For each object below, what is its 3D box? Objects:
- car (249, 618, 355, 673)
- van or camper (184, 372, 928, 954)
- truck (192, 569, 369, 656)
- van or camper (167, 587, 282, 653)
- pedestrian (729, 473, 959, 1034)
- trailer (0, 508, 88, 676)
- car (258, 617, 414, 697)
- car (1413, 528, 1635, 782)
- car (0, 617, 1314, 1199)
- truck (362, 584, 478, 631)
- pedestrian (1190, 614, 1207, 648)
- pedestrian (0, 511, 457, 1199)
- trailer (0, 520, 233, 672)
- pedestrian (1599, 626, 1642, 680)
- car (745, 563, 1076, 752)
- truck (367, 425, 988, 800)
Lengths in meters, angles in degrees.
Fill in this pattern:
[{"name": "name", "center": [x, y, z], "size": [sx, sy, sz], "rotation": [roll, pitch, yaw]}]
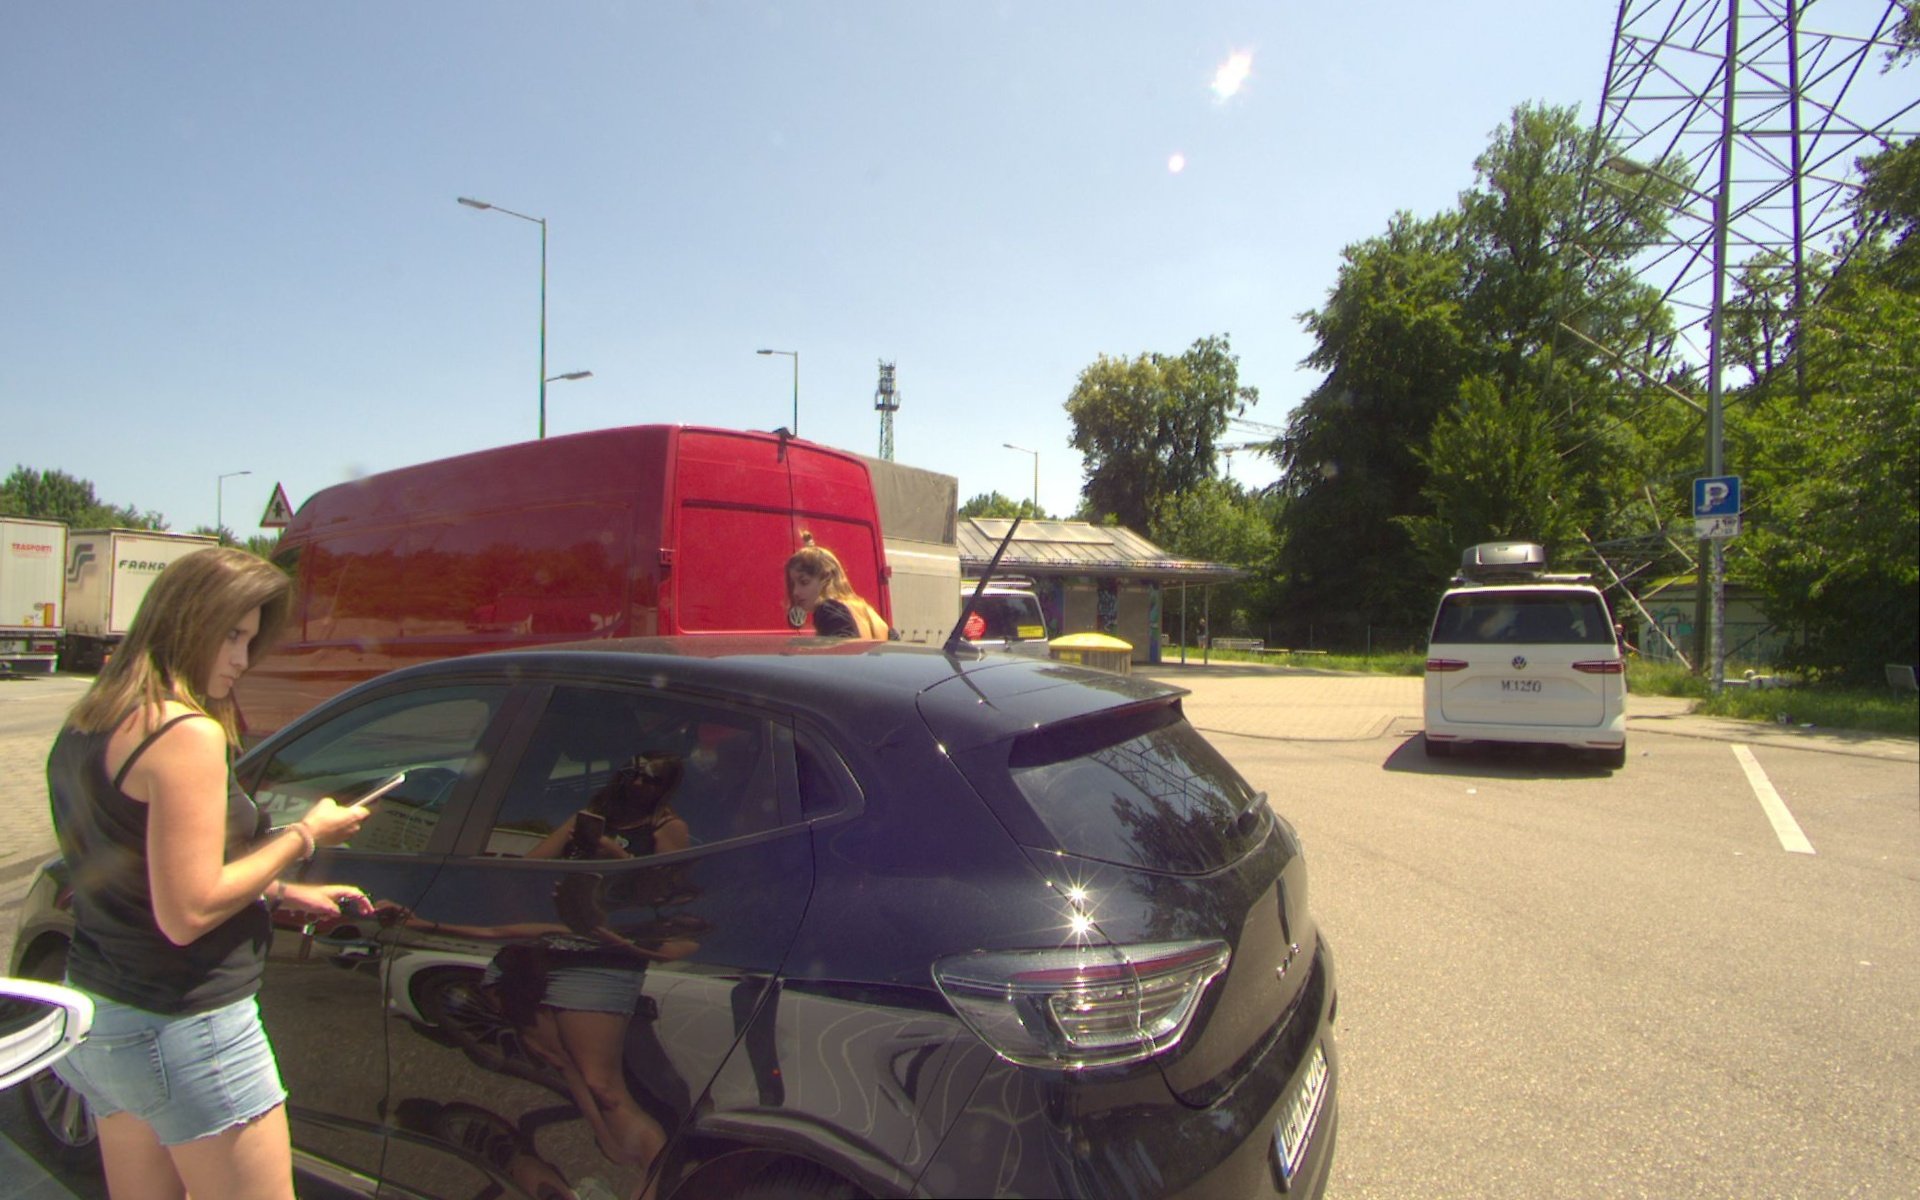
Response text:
[{"name": "car", "center": [-20.433, 1.375, 31.051], "size": [3.592, 1.565, 1.586], "rotation": [0, -1, 36]}, {"name": "van or camper", "center": [-3.366, 0.318, 7.340], "size": [6.394, 2.688, 1.990], "rotation": [0, -1, 36]}, {"name": "truck", "center": [-31.699, 0.496, 46.458], "size": [11.255, 3.615, 2.484], "rotation": [2, -1, 33]}, {"name": "van or camper", "center": [-30.417, 0.811, 41.368], "size": [5.296, 2.595, 2.100], "rotation": [0, -1, 34]}, {"name": "pedestrian", "center": [-0.475, 0.533, 3.905], "size": [0.759, 1.896, 0.916], "rotation": [1, 0, -11]}, {"name": "trailer", "center": [-28.358, -0.336, 27.782], "size": [12.255, 4.090, 2.862], "rotation": [2, -1, 33]}, {"name": "car", "center": [-13.932, 1.193, 22.293], "size": [3.902, 1.582, 1.834], "rotation": [0, -1, 40]}, {"name": "car", "center": [6.539, 0.559, 11.548], "size": [1.892, 2.354, 4.074], "rotation": [-1, -1, 32]}, {"name": "car", "center": [-1.059, 0.829, 2.833], "size": [3.706, 1.503, 1.615], "rotation": [0, -1, 27]}, {"name": "truck", "center": [-34.732, 0.453, 64.260], "size": [9.637, 2.857, 2.121], "rotation": [0, -1, 32]}, {"name": "pedestrian", "center": [10.945, 1.439, 45.988], "size": [0.577, 1.536, 0.592], "rotation": [1, 0, -9]}, {"name": "pedestrian", "center": [-1.311, 0.687, 1.733], "size": [0.643, 1.606, 0.648], "rotation": [1, 0, -15]}, {"name": "trailer", "center": [-27.298, -0.207, 31.447], "size": [12.255, 4.090, 2.862], "rotation": [2, -1, 33]}, {"name": "pedestrian", "center": [17.262, 1.384, 26.165], "size": [0.695, 1.392, 0.607], "rotation": [1, 0, -4]}, {"name": "car", "center": [-0.949, 0.755, 14.420], "size": [1.976, 2.178, 5.272], "rotation": [-3, 0, -39]}, {"name": "truck", "center": [-3.261, 0.125, 10.546], "size": [6.874, 2.828, 2.460], "rotation": [0, -1, 35]}]
